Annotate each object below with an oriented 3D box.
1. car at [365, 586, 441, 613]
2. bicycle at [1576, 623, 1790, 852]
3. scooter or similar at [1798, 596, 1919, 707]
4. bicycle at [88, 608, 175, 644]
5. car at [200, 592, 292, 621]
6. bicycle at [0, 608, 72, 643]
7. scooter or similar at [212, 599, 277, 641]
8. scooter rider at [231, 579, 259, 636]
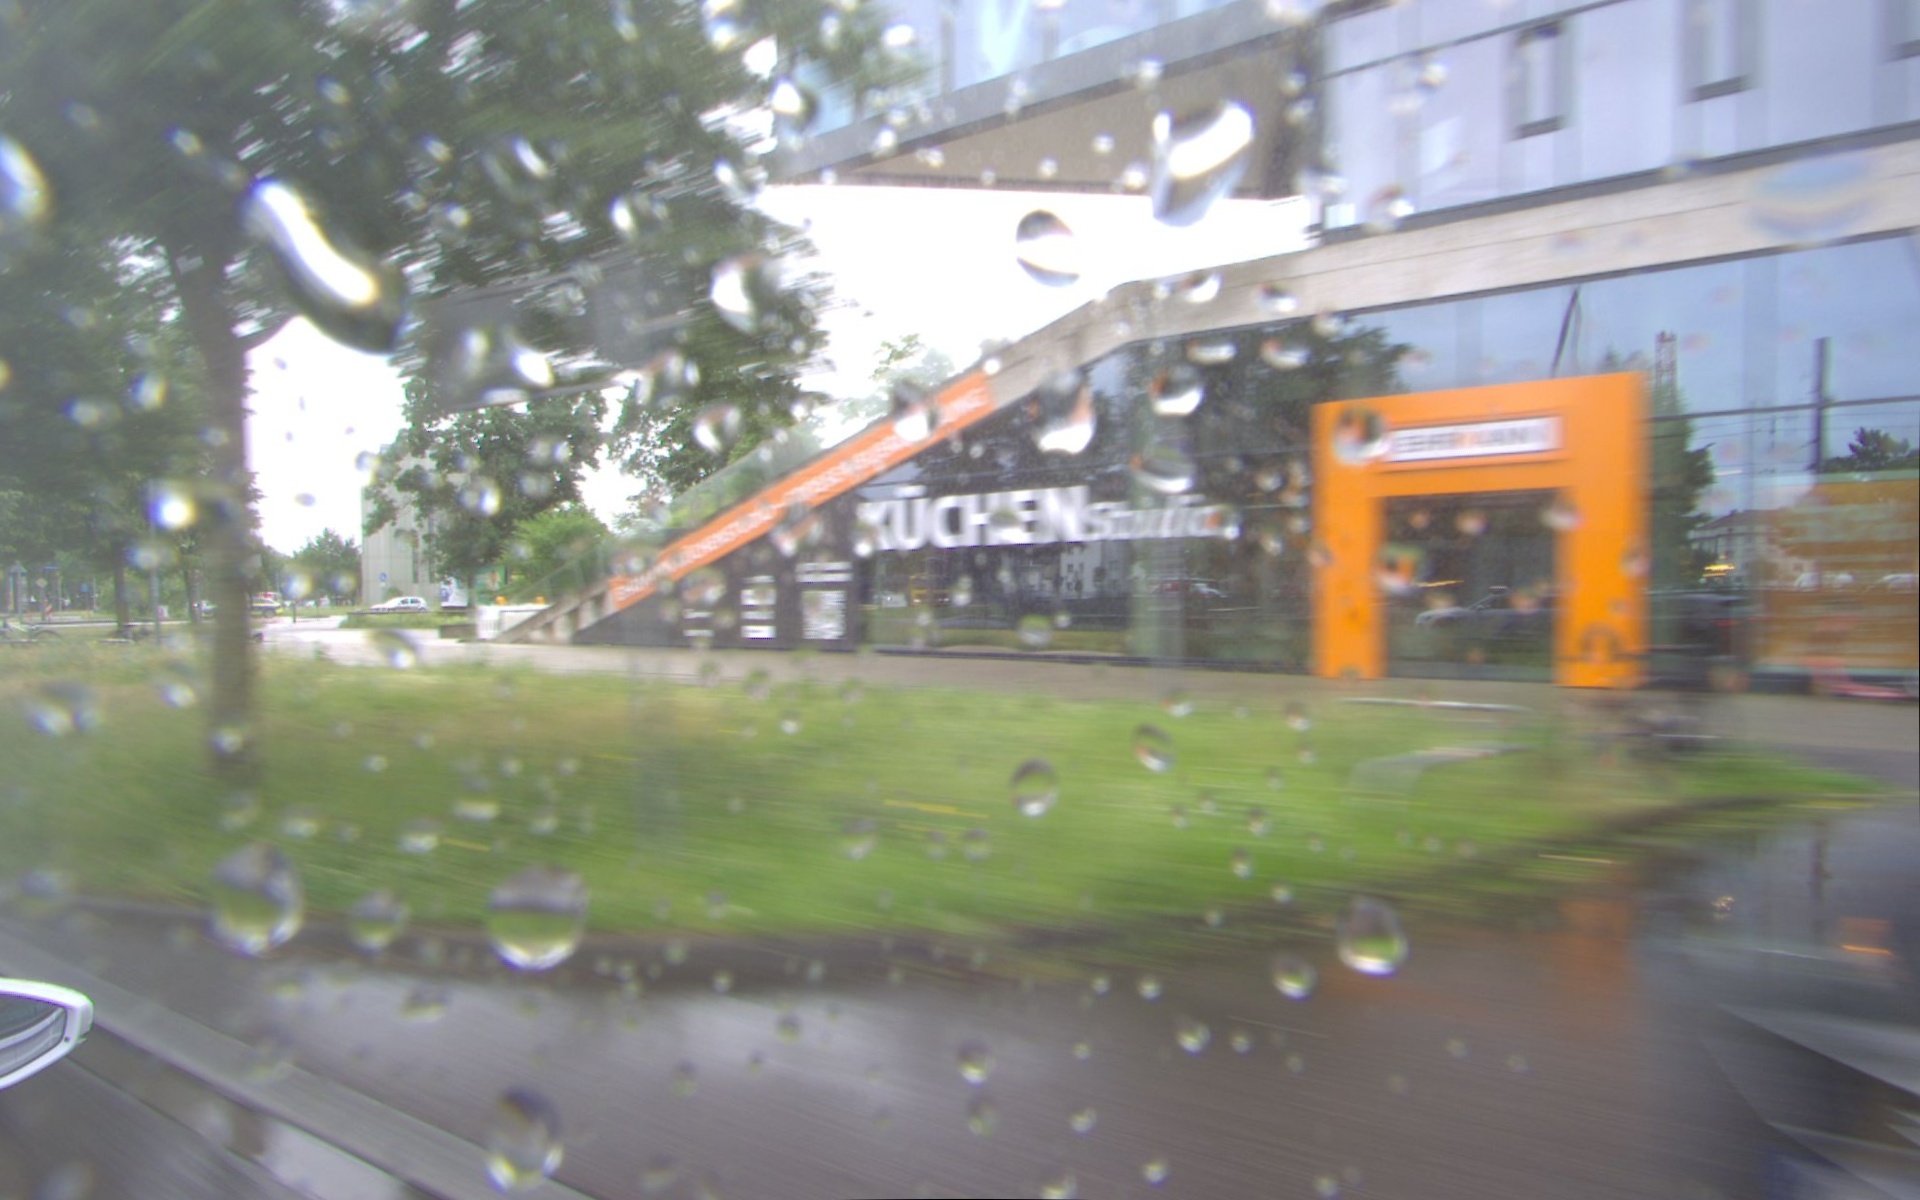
[{"bbox_3d":[-43.213,0.000,77.727,1.976,1.874,4.741,-1,-3,40],"label":"car"},{"bbox_3d":[4.924,0.855,6.777,1.824,1.364,0.529,1,1,-33],"label":"bicycle"},{"bbox_3d":[10.544,0.588,11.603,0.339,1.243,1.230,2,-2,-39],"label":"scooter or similar"},{"bbox_3d":[-18.689,0.592,22.585,1.972,0.797,0.454,0,-2,16],"label":"bicycle"},{"bbox_3d":[-48.650,0.443,68.321,1.971,1.876,4.750,1,0,33],"label":"car"},{"bbox_3d":[-21.565,0.587,23.066,1.823,0.797,0.380,1,-1,-2],"label":"bicycle"},{"bbox_3d":[-21.976,0.630,30.785,0.440,1.275,1.586,0,-2,26],"label":"scooter or similar"},{"bbox_3d":[-21.979,0.221,30.763,0.427,1.732,0.531,0,2,26],"label":"scooter rider"}]
